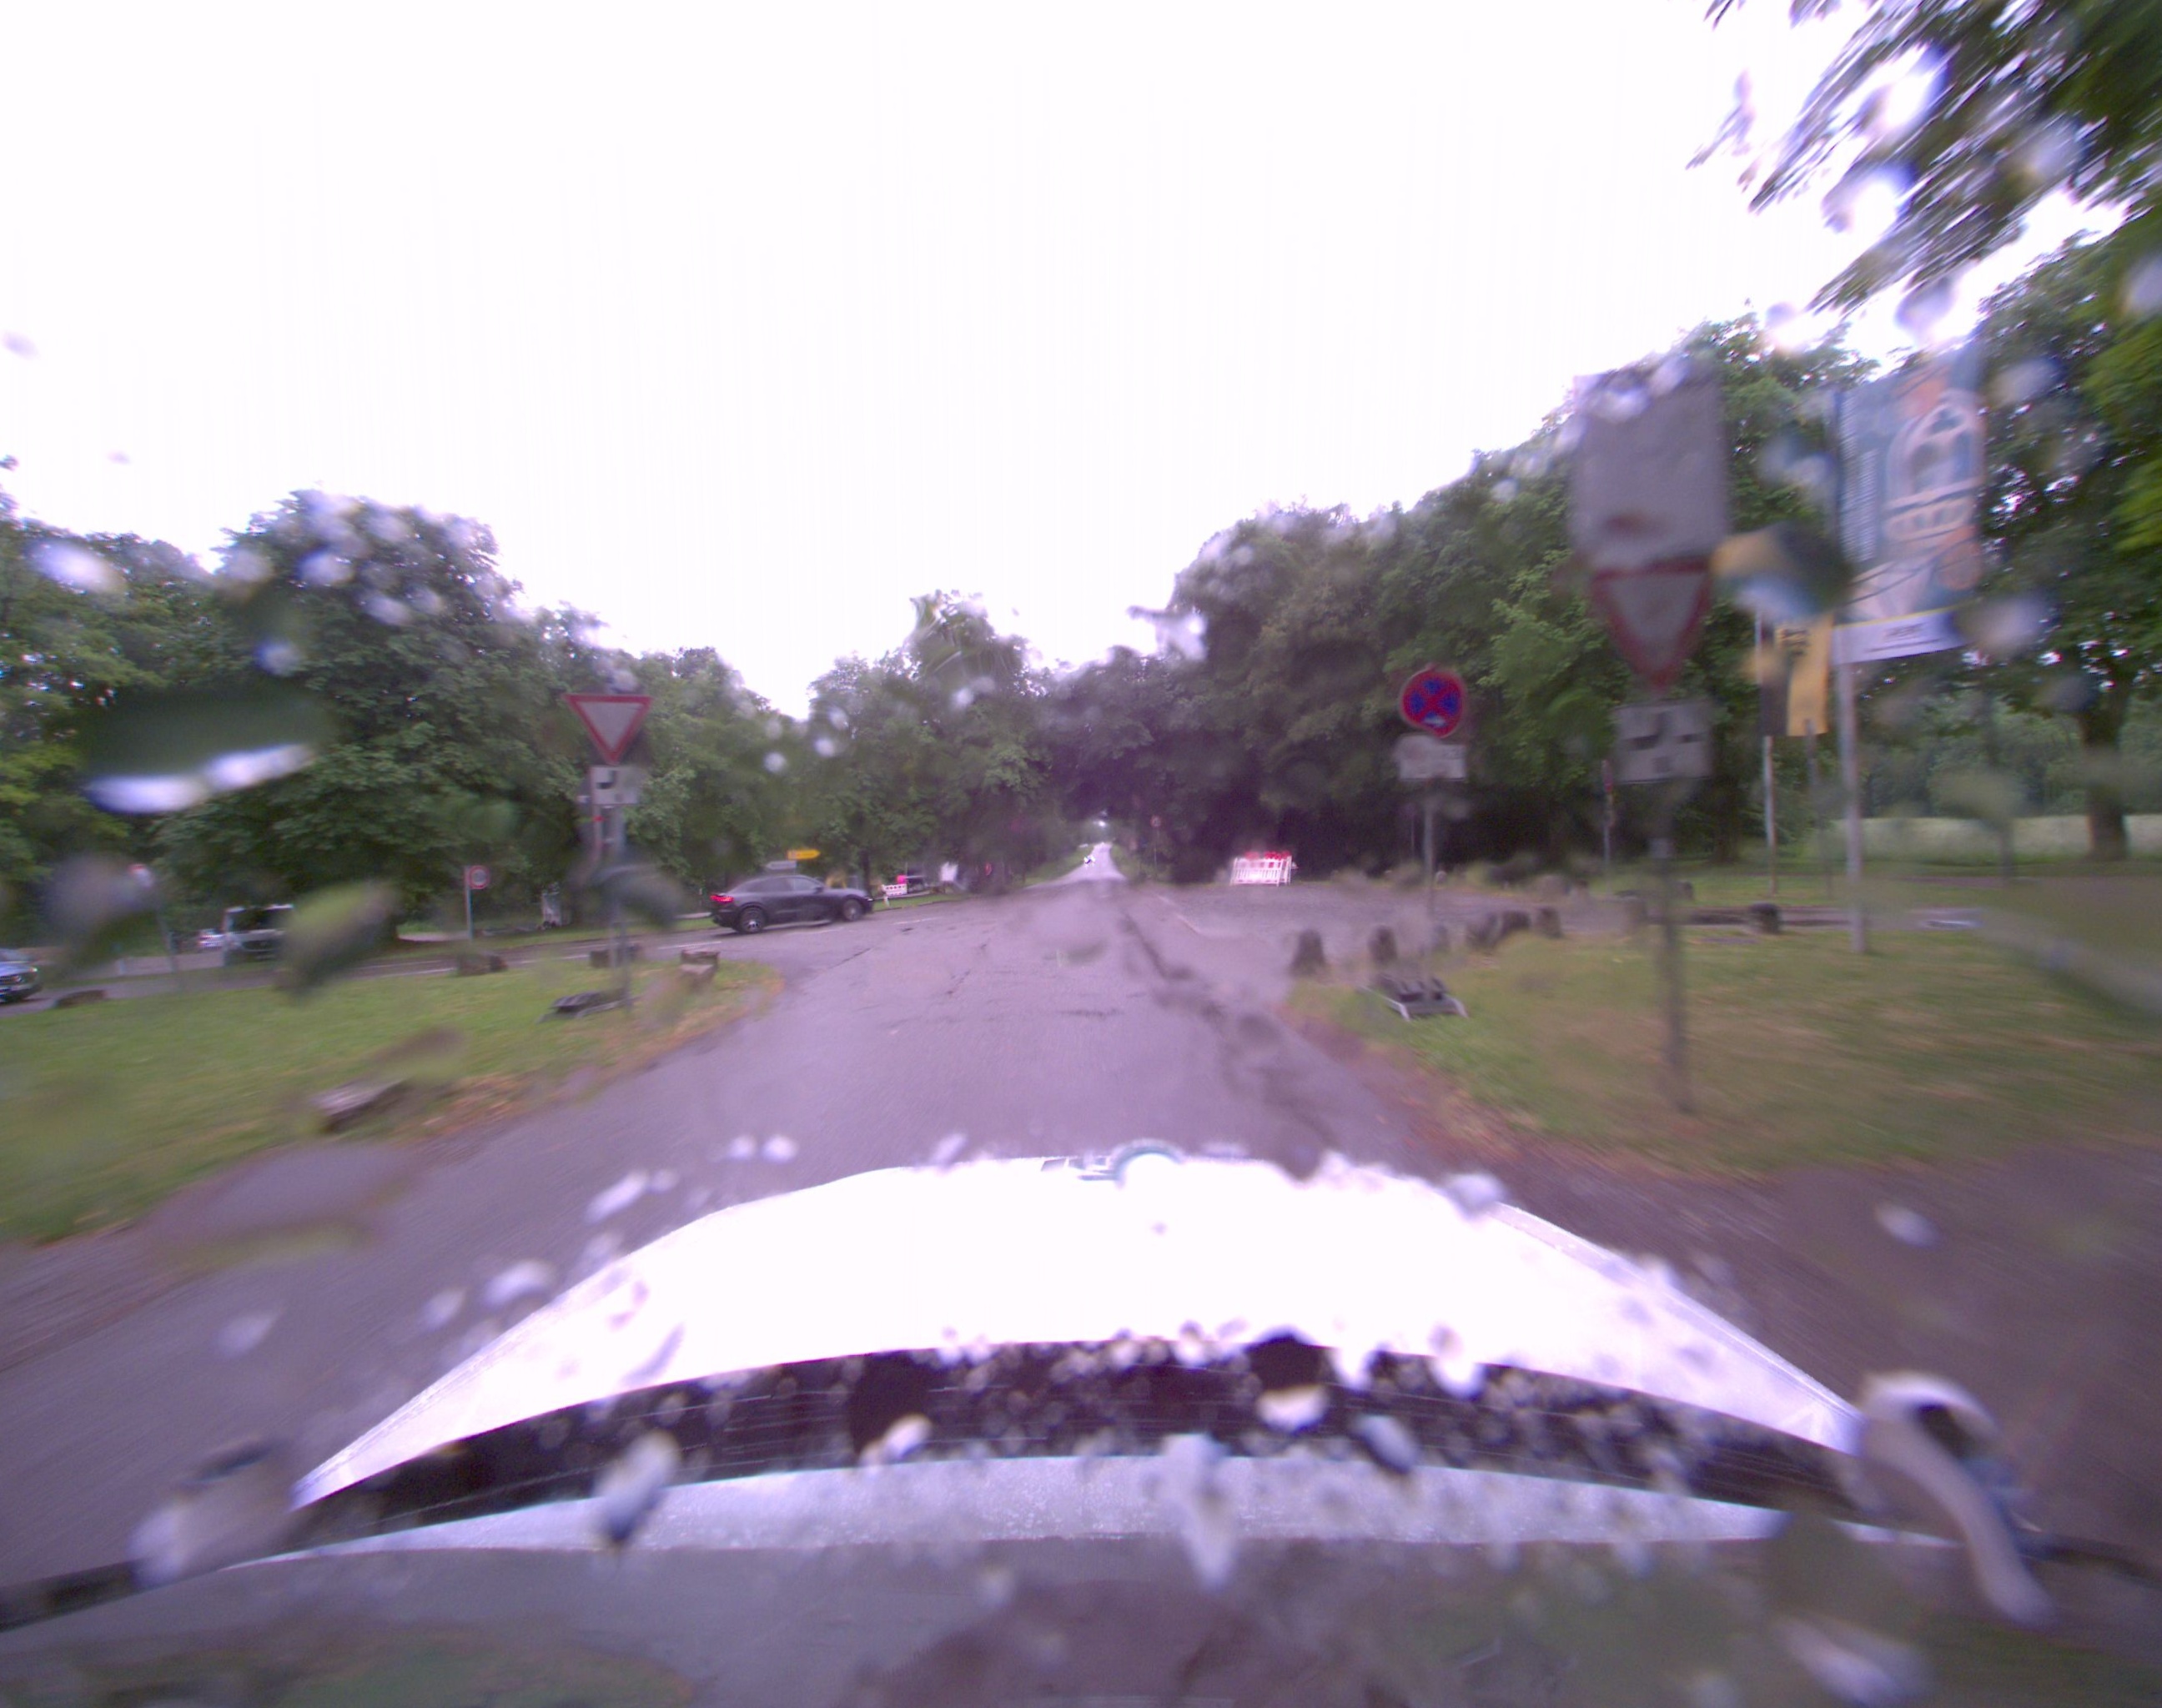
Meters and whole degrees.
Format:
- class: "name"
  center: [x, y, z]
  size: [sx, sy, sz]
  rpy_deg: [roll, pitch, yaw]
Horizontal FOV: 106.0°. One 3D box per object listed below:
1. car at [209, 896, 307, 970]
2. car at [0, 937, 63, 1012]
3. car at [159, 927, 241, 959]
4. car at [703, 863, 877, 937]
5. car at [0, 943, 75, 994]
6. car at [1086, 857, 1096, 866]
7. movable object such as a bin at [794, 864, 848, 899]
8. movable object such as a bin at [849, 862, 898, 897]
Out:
- class: "car"
  center: [-31.227, 2.932, 30.847]
  size: [5.907, 2.408, 2.407]
  rpy_deg: [-5, -3, 43]
- class: "car"
  center: [-27.489, 2.998, 18.790]
  size: [4.893, 1.600, 1.723]
  rpy_deg: [-4, 0, -14]
- class: "car"
  center: [-53.770, 5.423, 49.714]
  size: [3.953, 1.585, 2.010]
  rpy_deg: [-4, 0, 20]
- class: "car"
  center: [-8.746, 1.329, 24.605]
  size: [4.592, 1.708, 1.714]
  rpy_deg: [-5, 1, -32]
- class: "car"
  center: [-35.946, 3.882, 26.630]
  size: [1.767, 1.429, 4.083]
  rpy_deg: [-4, 0, -17]
- class: "car"
  center: [2.049, 1.477, 170.184]
  size: [1.986, 1.717, 4.001]
  rpy_deg: [-4, 0, 2]
- class: "movable object such as a bin"
  center: [-27.052, 2.819, 85.051]
  size: [4.655, 3.294, 3.900]
  rpy_deg: [-4, -1, -10]
- class: "movable object such as a bin"
  center: [-22.002, 2.681, 86.589]
  size: [4.582, 3.294, 3.654]
  rpy_deg: [-4, -1, -10]
